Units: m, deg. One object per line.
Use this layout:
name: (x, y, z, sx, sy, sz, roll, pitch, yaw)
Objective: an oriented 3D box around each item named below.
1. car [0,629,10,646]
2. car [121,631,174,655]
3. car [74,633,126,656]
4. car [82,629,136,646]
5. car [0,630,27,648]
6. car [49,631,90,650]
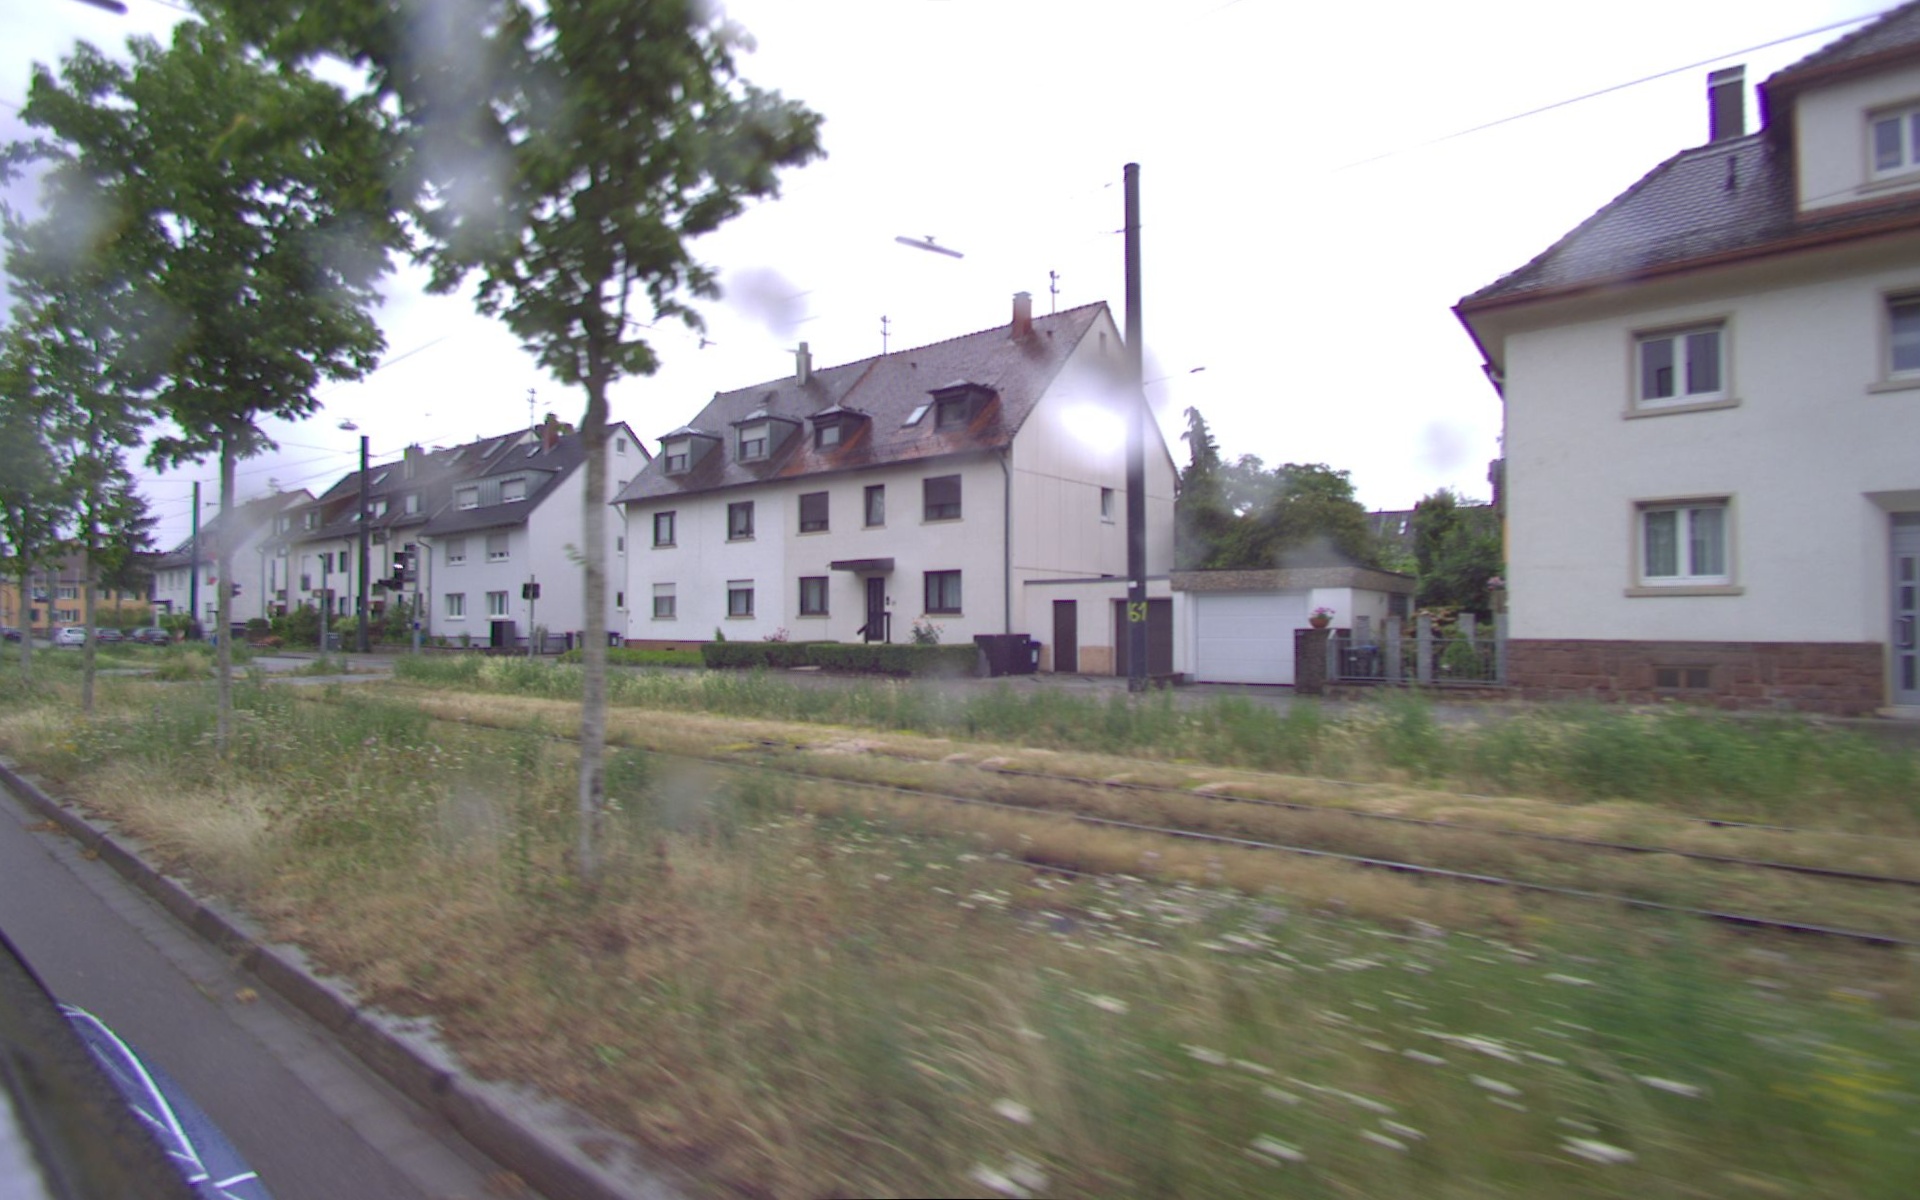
car: (-99.820, 3.854, 104.611, 3.999, 1.670, 1.972, -1, -1, 42)
car: (-50.145, 2.658, 62.446, 3.934, 1.437, 1.755, -2, -3, 40)
car: (-59.951, 3.076, 70.543, 4.751, 1.543, 1.868, -2, -3, 39)
car: (-85.132, 3.704, 101.289, 1.913, 1.607, 3.945, -2, -2, 41)
car: (-89.698, 3.680, 95.545, 3.996, 1.602, 1.888, -2, -3, 40)
car: (-68.463, 3.103, 77.786, 3.995, 1.451, 1.694, -2, -3, 39)
